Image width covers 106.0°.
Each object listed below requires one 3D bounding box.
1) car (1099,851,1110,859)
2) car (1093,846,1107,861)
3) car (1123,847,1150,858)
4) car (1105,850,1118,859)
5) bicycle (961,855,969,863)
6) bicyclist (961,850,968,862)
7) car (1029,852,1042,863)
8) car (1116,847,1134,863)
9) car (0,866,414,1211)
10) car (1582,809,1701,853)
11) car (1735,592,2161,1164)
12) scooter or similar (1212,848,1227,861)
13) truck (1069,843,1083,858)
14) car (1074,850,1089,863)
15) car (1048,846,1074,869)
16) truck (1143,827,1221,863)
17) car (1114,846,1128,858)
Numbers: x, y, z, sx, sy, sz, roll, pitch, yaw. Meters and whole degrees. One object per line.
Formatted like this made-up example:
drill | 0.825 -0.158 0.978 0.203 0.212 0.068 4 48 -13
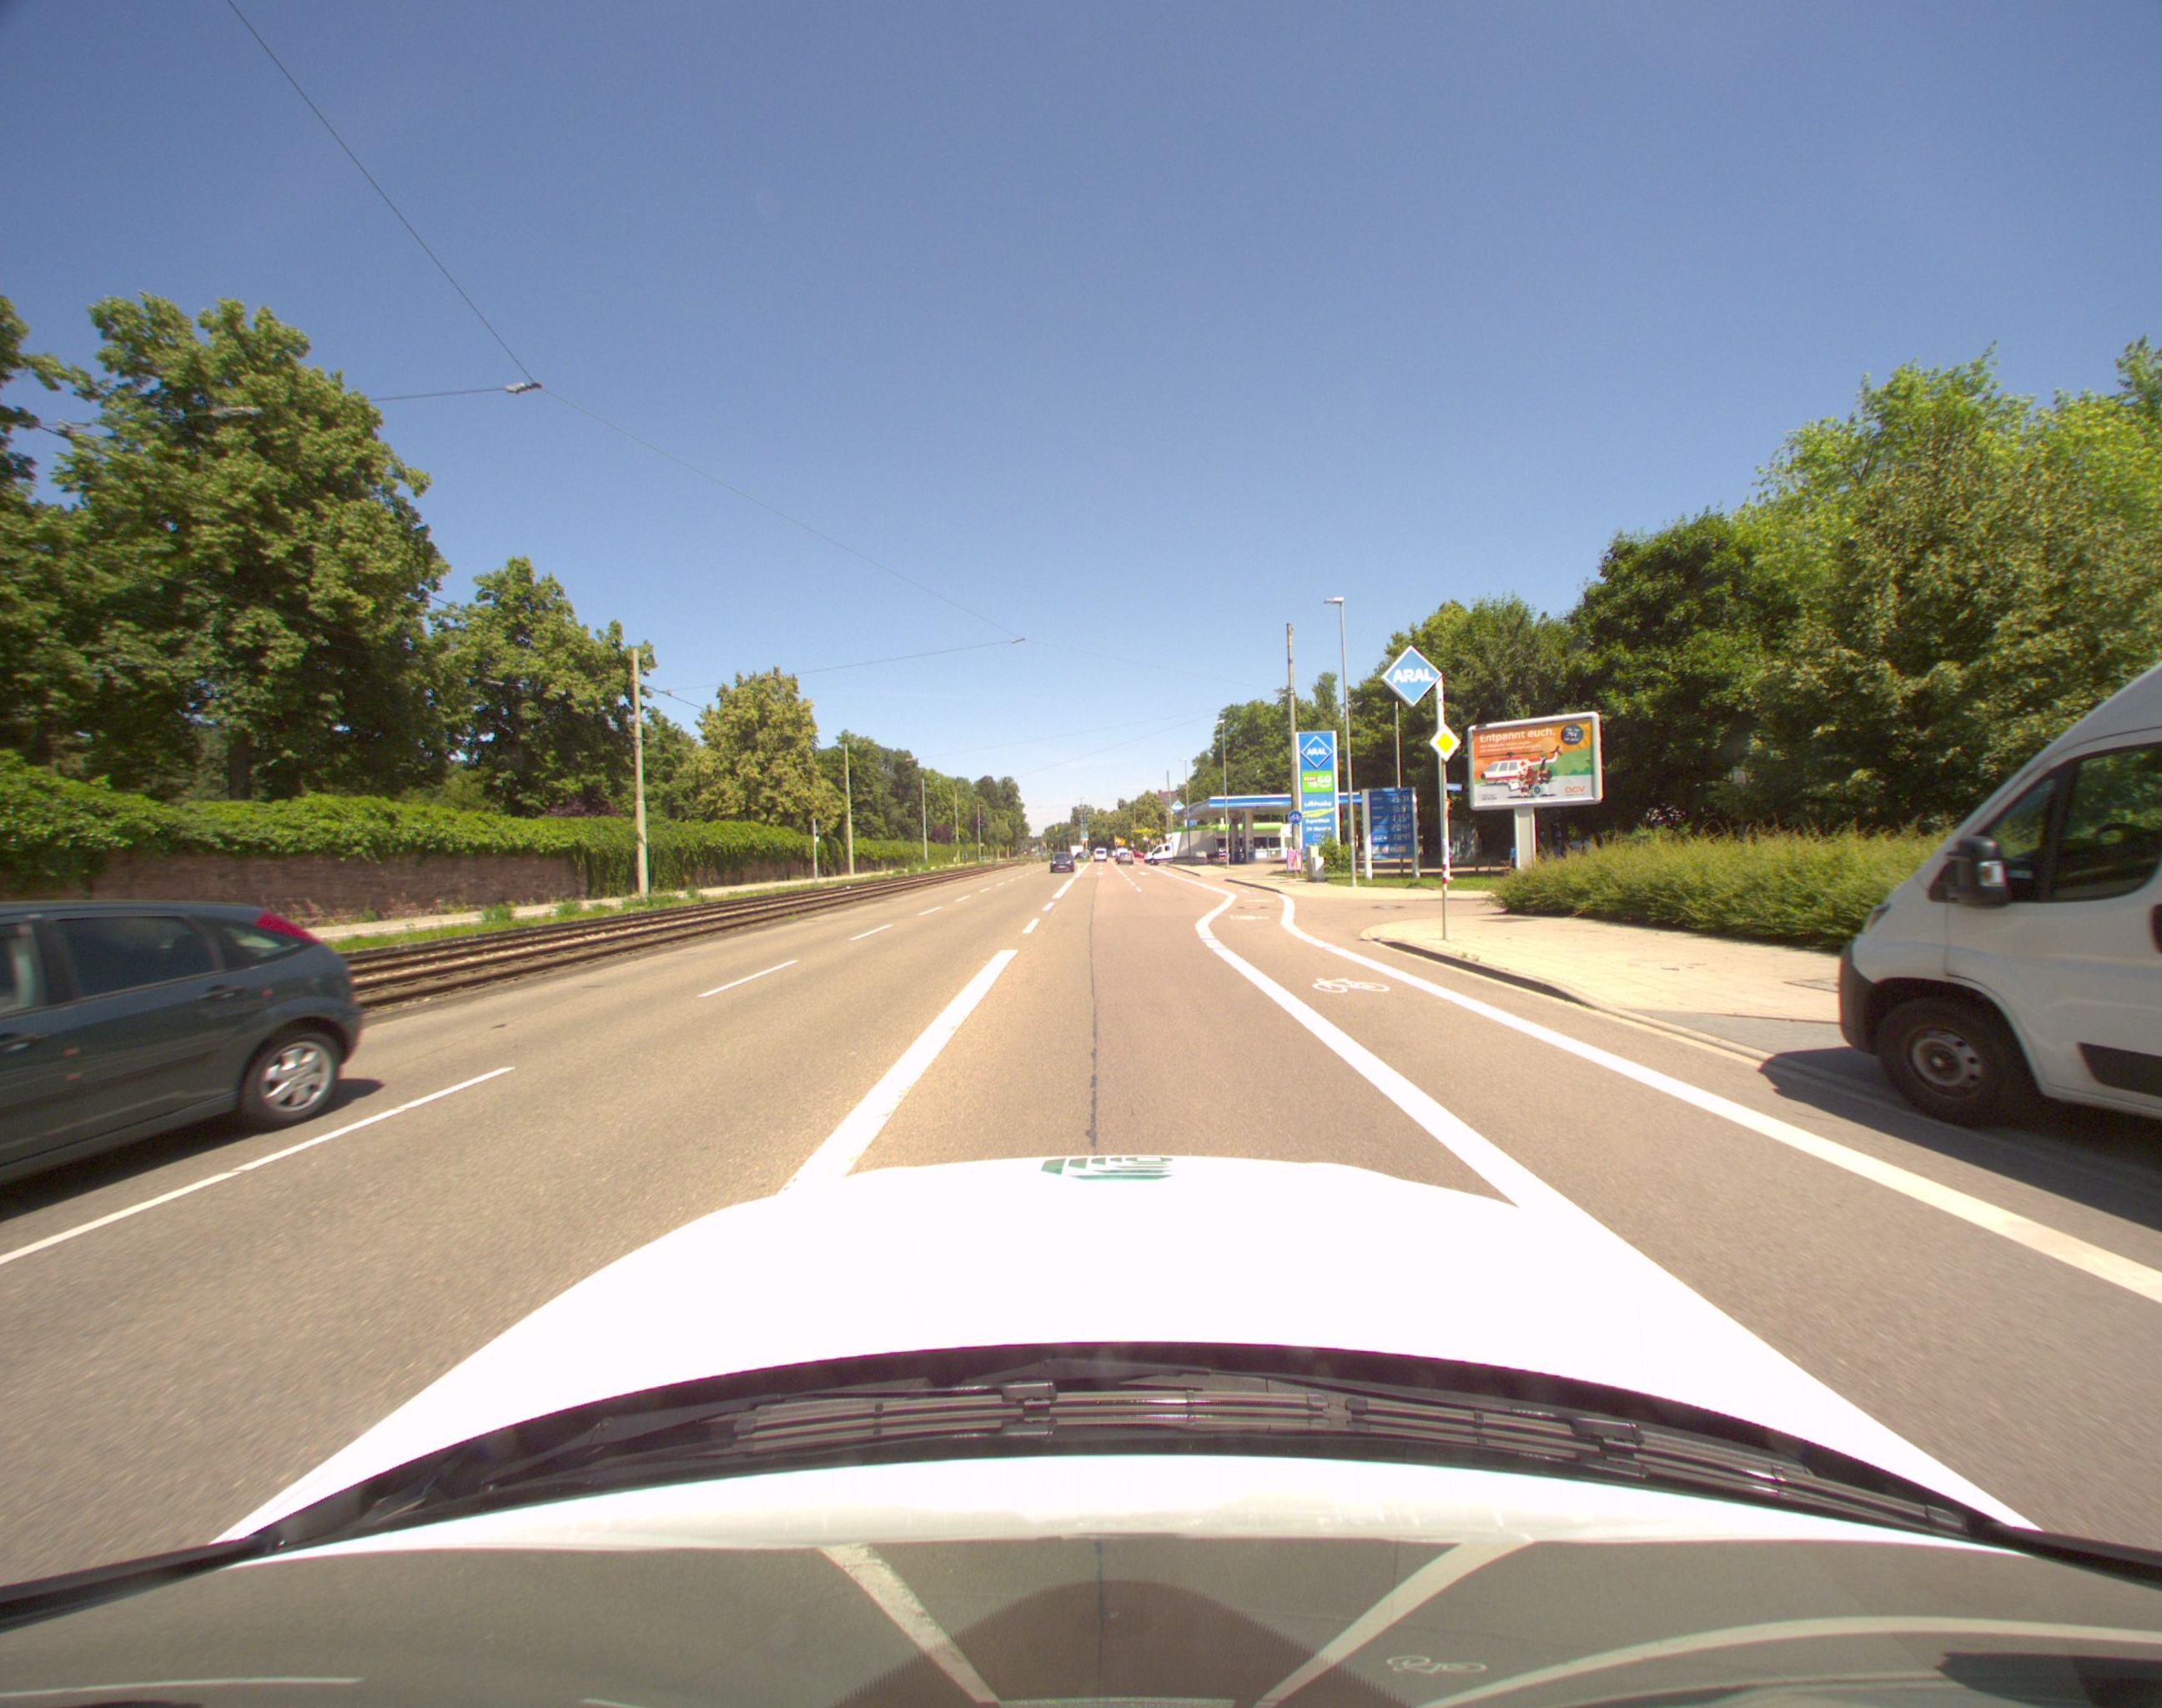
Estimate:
car | 5.828 0.250 203.408 1.757 1.840 4.306 -4 0 -12
car | 2.587 -0.052 112.803 1.750 1.875 4.324 -4 0 1
car | 9.691 -0.249 142.742 4.267 1.659 1.773 -4 0 35
car | 6.443 0.080 171.226 1.755 1.630 4.310 -4 0 -9
bicycle | -16.207 0.755 113.858 0.679 1.054 2.008 -6 -1 0
bicyclist | -16.254 0.324 113.872 0.679 1.574 0.795 -6 -1 -1
car | -7.053 0.564 125.675 1.753 1.630 4.317 -4 0 -4
car | 5.102 0.109 95.053 1.750 1.630 4.324 -4 0 1
car | -5.748 0.899 3.699 1.750 1.509 4.324 -4 0 1
car | 23.634 -0.937 34.547 1.753 1.630 4.317 -4 0 -4
car | 5.619 0.061 2.612 1.995 2.457 6.108 -4 0 0
scooter or similar | 15.346 0.059 90.326 1.548 1.328 0.536 -1 0 -1
truck | -0.948 -0.704 159.593 2.526 2.679 11.810 -1 0 -1
car | 0.143 0.335 110.645 1.749 1.630 4.326 -4 0 2
car | -1.486 0.250 61.902 1.750 1.630 4.324 -4 0 1
truck | 10.795 -0.952 87.213 7.907 3.602 2.674 -1 0 16
car | 5.544 -0.281 113.848 1.750 1.630 4.324 -4 0 1
